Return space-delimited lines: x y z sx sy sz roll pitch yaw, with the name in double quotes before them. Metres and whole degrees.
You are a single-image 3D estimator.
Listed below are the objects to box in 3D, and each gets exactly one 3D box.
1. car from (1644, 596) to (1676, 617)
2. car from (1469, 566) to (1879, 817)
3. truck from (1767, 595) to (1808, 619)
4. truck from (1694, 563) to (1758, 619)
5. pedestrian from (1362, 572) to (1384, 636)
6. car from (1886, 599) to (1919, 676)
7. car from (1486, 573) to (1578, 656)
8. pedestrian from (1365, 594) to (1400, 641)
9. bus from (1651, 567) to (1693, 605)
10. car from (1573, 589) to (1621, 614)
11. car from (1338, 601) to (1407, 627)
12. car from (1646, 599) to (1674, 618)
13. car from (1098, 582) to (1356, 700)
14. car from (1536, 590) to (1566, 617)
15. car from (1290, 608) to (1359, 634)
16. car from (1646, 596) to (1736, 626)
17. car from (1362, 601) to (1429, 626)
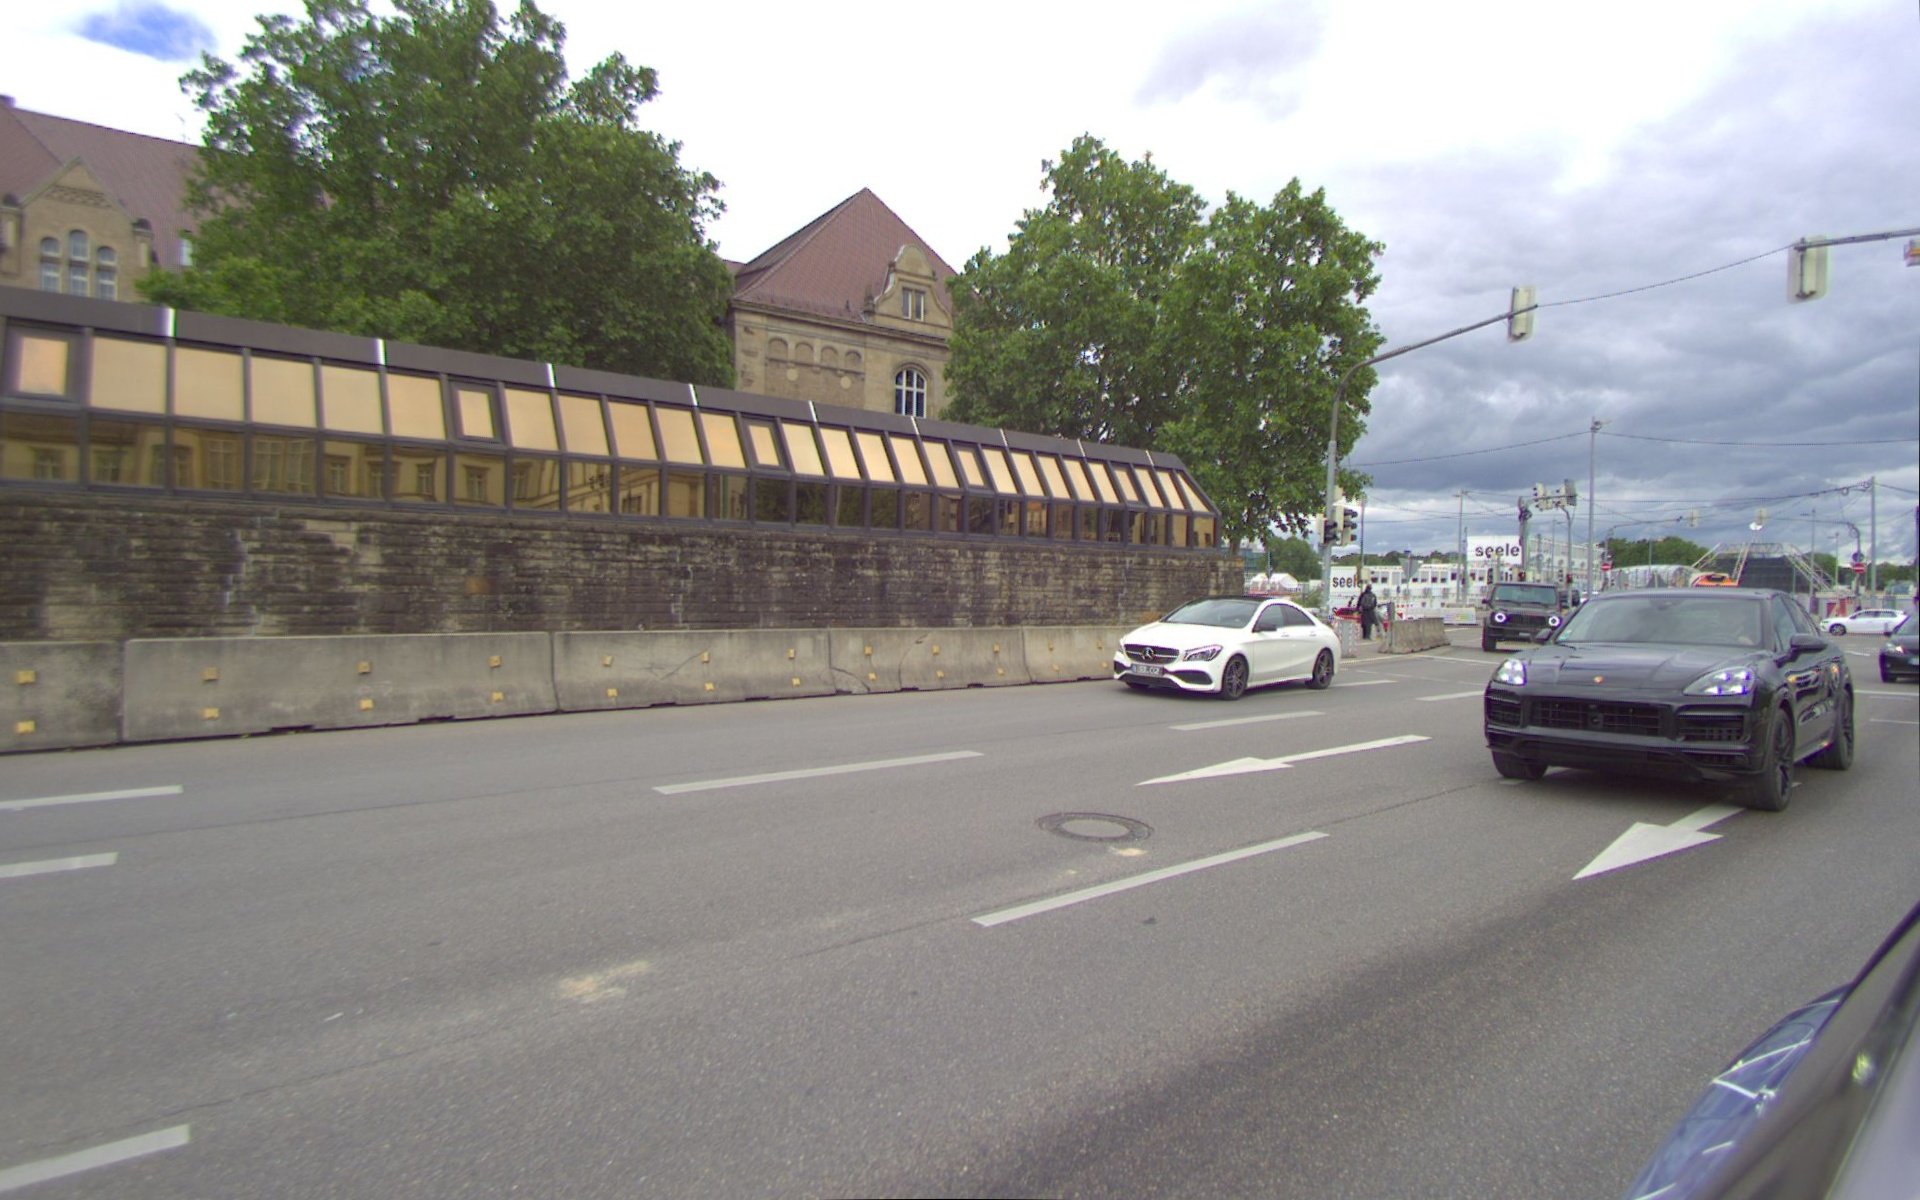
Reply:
"car" 50.258 0.432 72.718 1.774 1.453 4.019 1 1 34
"car" 6.493 0.648 8.991 4.528 1.669 1.953 1 -2 -41
"truck" 55.755 0.464 68.251 1.814 1.559 3.714 1 0 34
"truck" 54.588 -0.687 72.319 2.890 3.721 8.920 1 1 33
"pedestrian" 13.273 0.115 32.543 0.615 2.039 0.844 0 0 22
"car" 21.010 0.775 20.999 4.335 1.488 1.735 0 2 -35
"car" 15.830 0.349 28.072 1.924 1.960 3.635 7 4 29
"pedestrian" 18.623 0.765 44.629 1.186 2.039 1.189 -1 -1 13
"bus" 65.766 -1.203 93.389 2.799 3.209 9.273 2 0 37
"car" 54.502 0.124 86.572 4.084 2.039 2.001 2 0 -34
"car" 24.646 0.820 60.536 1.660 1.453 3.445 -1 1 -37
"car" 53.703 0.637 77.643 1.640 1.453 3.575 1 1 34
"car" 4.138 0.498 15.273 4.308 1.453 1.737 -1 3 -44
"car" 47.860 0.290 81.953 1.985 2.039 3.954 2 0 32
"car" 21.409 1.231 59.572 1.636 1.453 3.443 -2 0 -39
"car" 41.024 0.617 56.849 3.941 1.594 1.666 0 -3 43
"car" 26.833 0.795 62.434 1.663 1.453 3.445 -2 1 -36
